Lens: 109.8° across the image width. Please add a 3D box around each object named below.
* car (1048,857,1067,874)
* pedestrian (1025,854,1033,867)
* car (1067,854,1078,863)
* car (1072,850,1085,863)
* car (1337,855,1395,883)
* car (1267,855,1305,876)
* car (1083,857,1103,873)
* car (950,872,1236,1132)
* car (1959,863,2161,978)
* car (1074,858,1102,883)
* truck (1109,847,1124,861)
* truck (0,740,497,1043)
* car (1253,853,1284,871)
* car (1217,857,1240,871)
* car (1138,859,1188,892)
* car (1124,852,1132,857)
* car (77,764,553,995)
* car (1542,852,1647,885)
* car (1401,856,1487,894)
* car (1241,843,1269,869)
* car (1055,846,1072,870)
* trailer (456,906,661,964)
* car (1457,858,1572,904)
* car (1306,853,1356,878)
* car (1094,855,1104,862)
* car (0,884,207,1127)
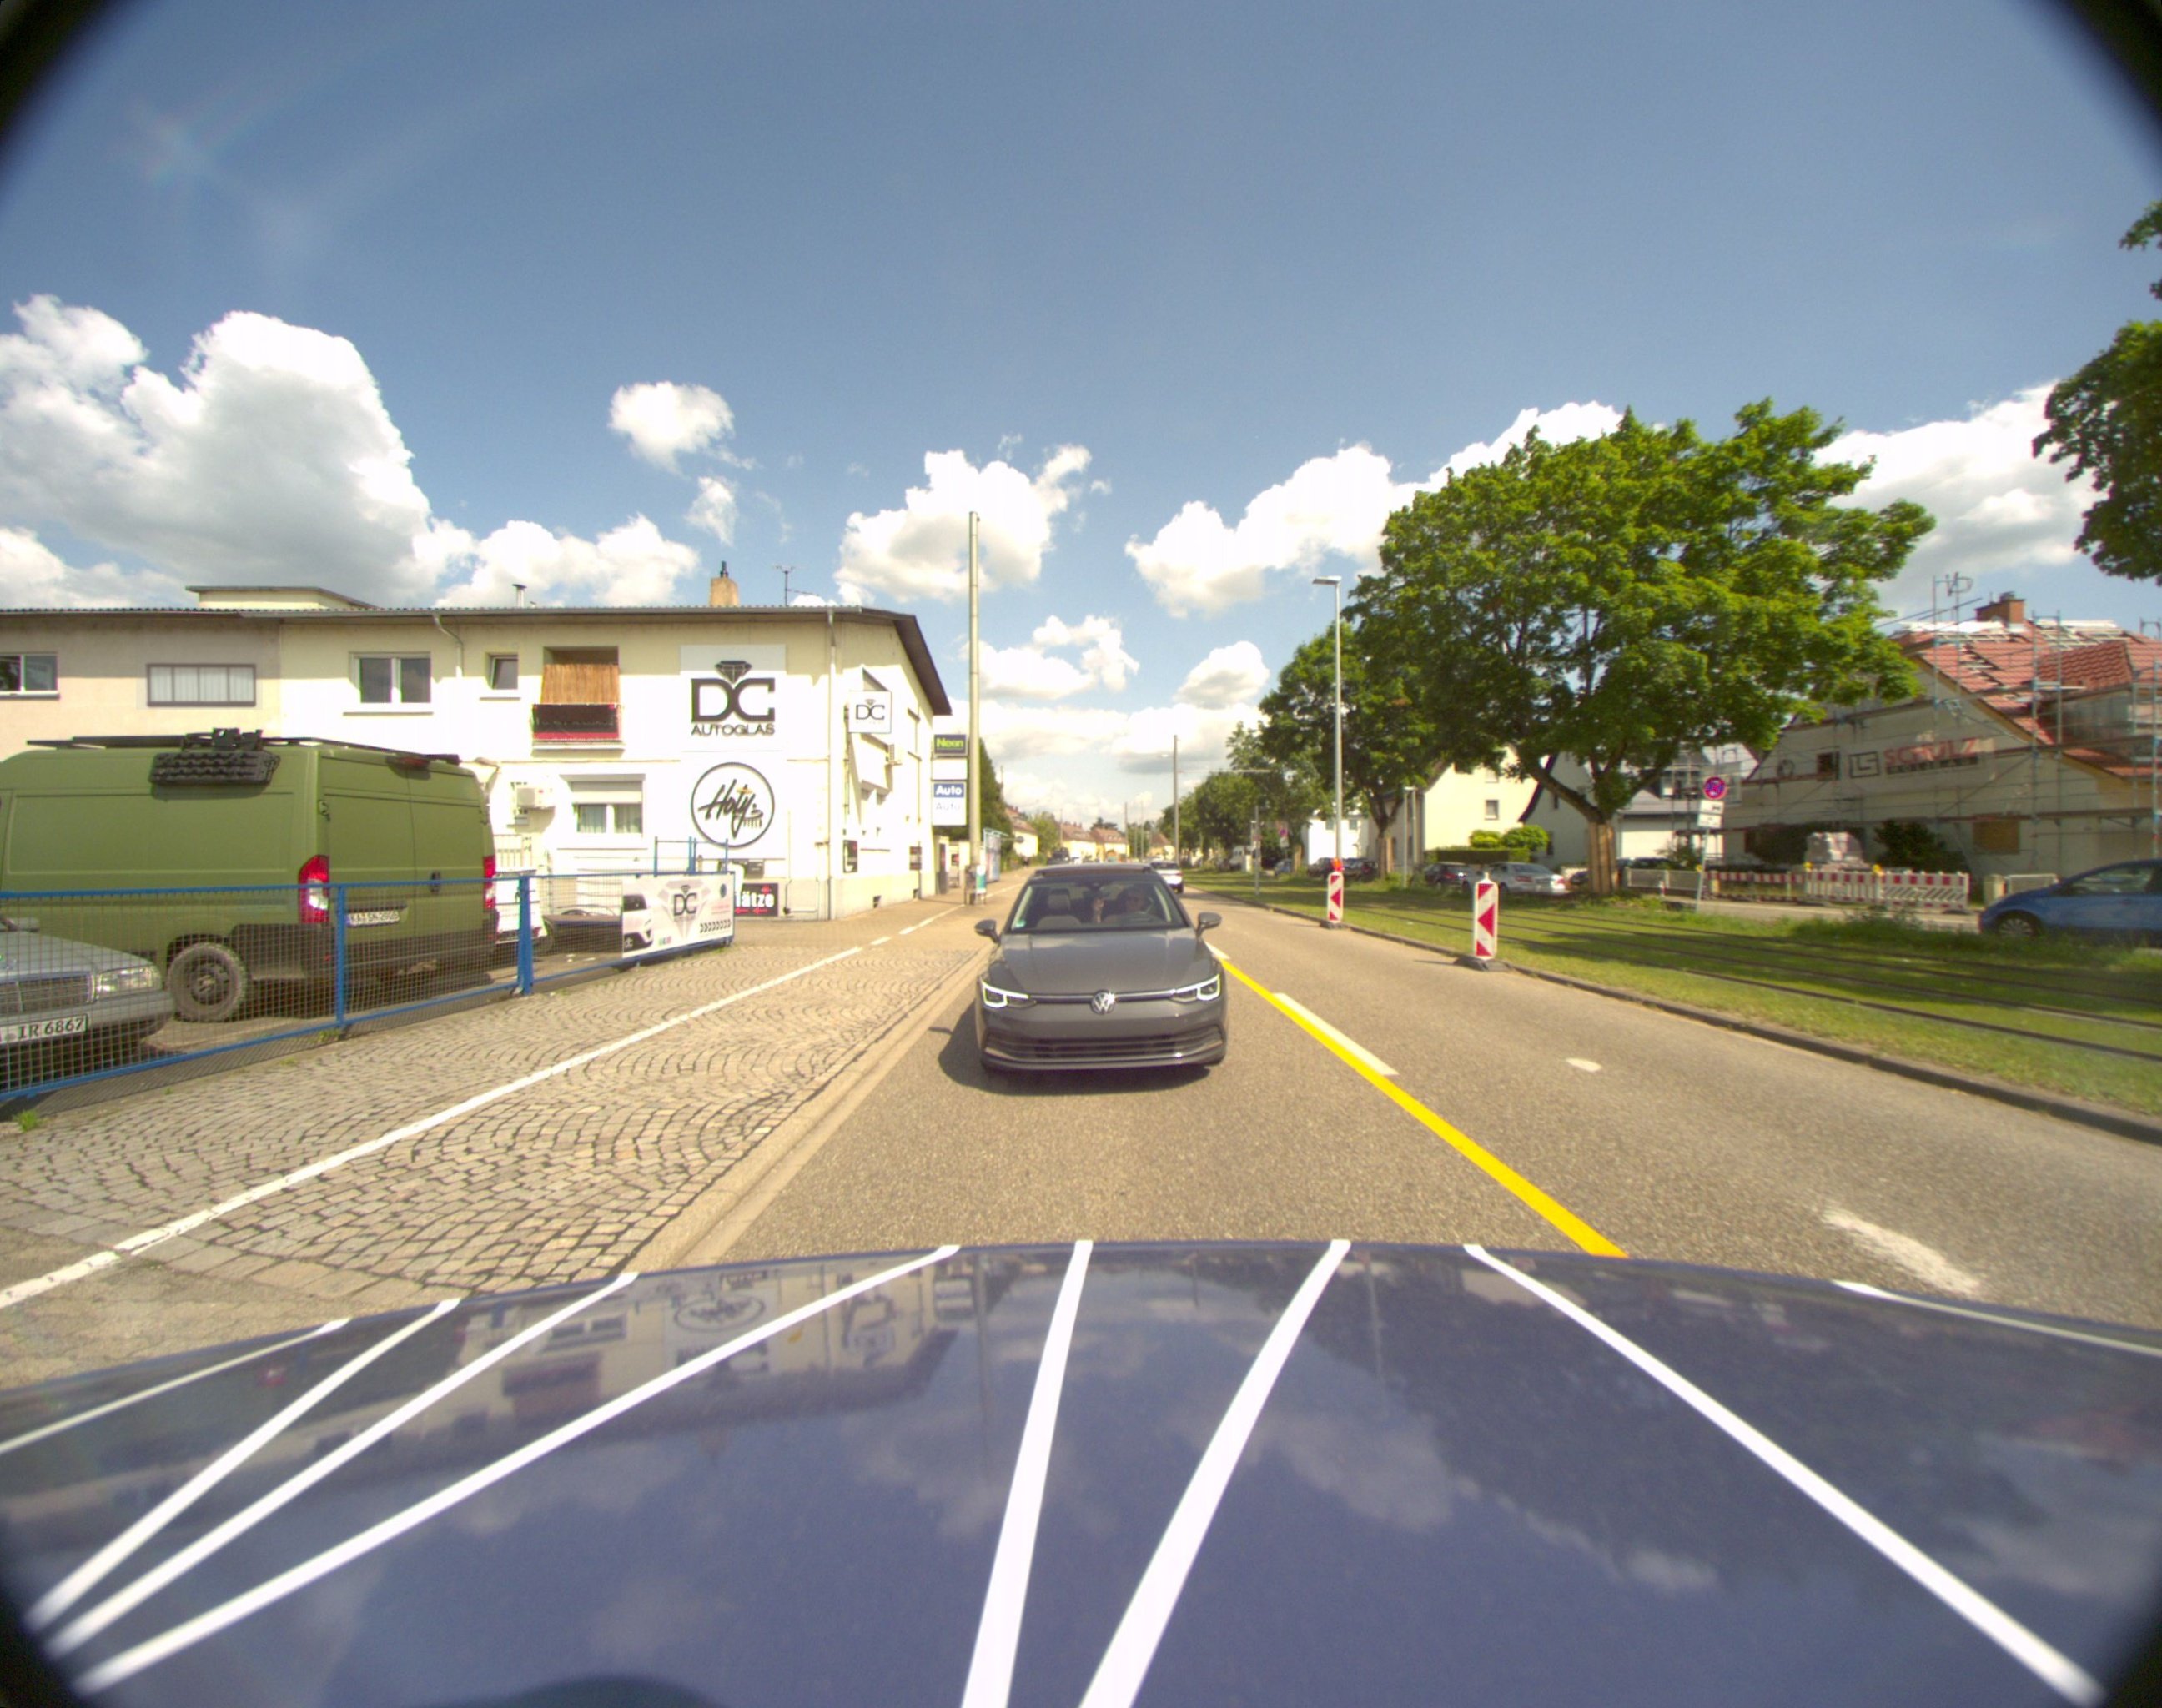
[{"bbox_3d":[-2.163,1.066,70.991,1.720,1.470,4.009,0,0,0],"label":"car"},{"bbox_3d":[-6.355,0.775,92.855,0.816,1.577,0.918,0,0,1],"label":"pedestrian"},{"bbox_3d":[-1.368,0.738,122.963,1.720,1.470,4.009,0,0,0],"label":"car"},{"bbox_3d":[-0.432,0.399,136.327,1.719,2.360,5.211,0,0,5],"label":"car"},{"bbox_3d":[16.899,0.849,45.272,1.755,1.602,4.606,0,0,0],"label":"car"},{"bbox_3d":[16.493,0.916,61.361,1.755,1.602,4.606,0,0,0],"label":"car"},{"bbox_3d":[1.109,1.015,70.938,1.787,1.470,4.009,0,0,1],"label":"car"},{"bbox_3d":[0.099,0.937,6.571,1.719,1.470,4.009,0,0,1],"label":"car"},{"bbox_3d":[16.214,0.957,11.236,1.755,1.602,4.050,0,0,0],"label":"car"},{"bbox_3d":[0.472,1.031,48.291,1.719,1.470,4.009,0,0,1],"label":"car"},{"bbox_3d":[9.402,0.021,201.139,2.590,3.431,8.585,0,0,11],"label":"truck"},{"bbox_3d":[-8.624,0.328,7.570,3.997,2.592,2.069,0,0,1],"label":"truck"},{"bbox_3d":[17.582,0.755,71.500,1.755,1.602,4.606,0,0,0],"label":"car"},{"bbox_3d":[16.930,1.151,87.274,1.755,1.602,4.606,0,0,0],"label":"car"},{"bbox_3d":[3.620,0.922,34.213,1.755,1.405,4.261,0,0,0],"label":"car"},{"bbox_3d":[13.527,0.235,218.482,1.718,1.470,4.013,0,0,13],"label":"car"},{"bbox_3d":[-9.456,0.302,9.655,4.209,2.653,1.803,0,0,0],"label":"car"},{"bbox_3d":[25.510,0.719,37.837,4.047,1.602,1.757,0,0,1],"label":"car"},{"bbox_3d":[16.588,0.915,35.034,1.755,1.602,4.606,0,0,0],"label":"car"},{"bbox_3d":[17.643,0.196,77.076,1.755,2.601,4.606,0,0,0],"label":"car"},{"bbox_3d":[-1.920,0.411,82.853,1.720,2.526,5.794,0,0,0],"label":"car"},{"bbox_3d":[-8.063,1.238,11.840,2.329,0.762,1.269,0,0,2],"label":"trailer"},{"bbox_3d":[16.387,0.964,29.011,1.755,1.602,4.606,0,0,0],"label":"car"},{"bbox_3d":[16.677,0.763,50.912,1.755,1.602,4.606,0,0,0],"label":"car"},{"bbox_3d":[4.102,0.995,172.740,1.718,1.470,4.011,0,0,8],"label":"car"},{"bbox_3d":[-8.438,0.918,4.814,4.206,1.388,1.804,0,0,8],"label":"car"}]
